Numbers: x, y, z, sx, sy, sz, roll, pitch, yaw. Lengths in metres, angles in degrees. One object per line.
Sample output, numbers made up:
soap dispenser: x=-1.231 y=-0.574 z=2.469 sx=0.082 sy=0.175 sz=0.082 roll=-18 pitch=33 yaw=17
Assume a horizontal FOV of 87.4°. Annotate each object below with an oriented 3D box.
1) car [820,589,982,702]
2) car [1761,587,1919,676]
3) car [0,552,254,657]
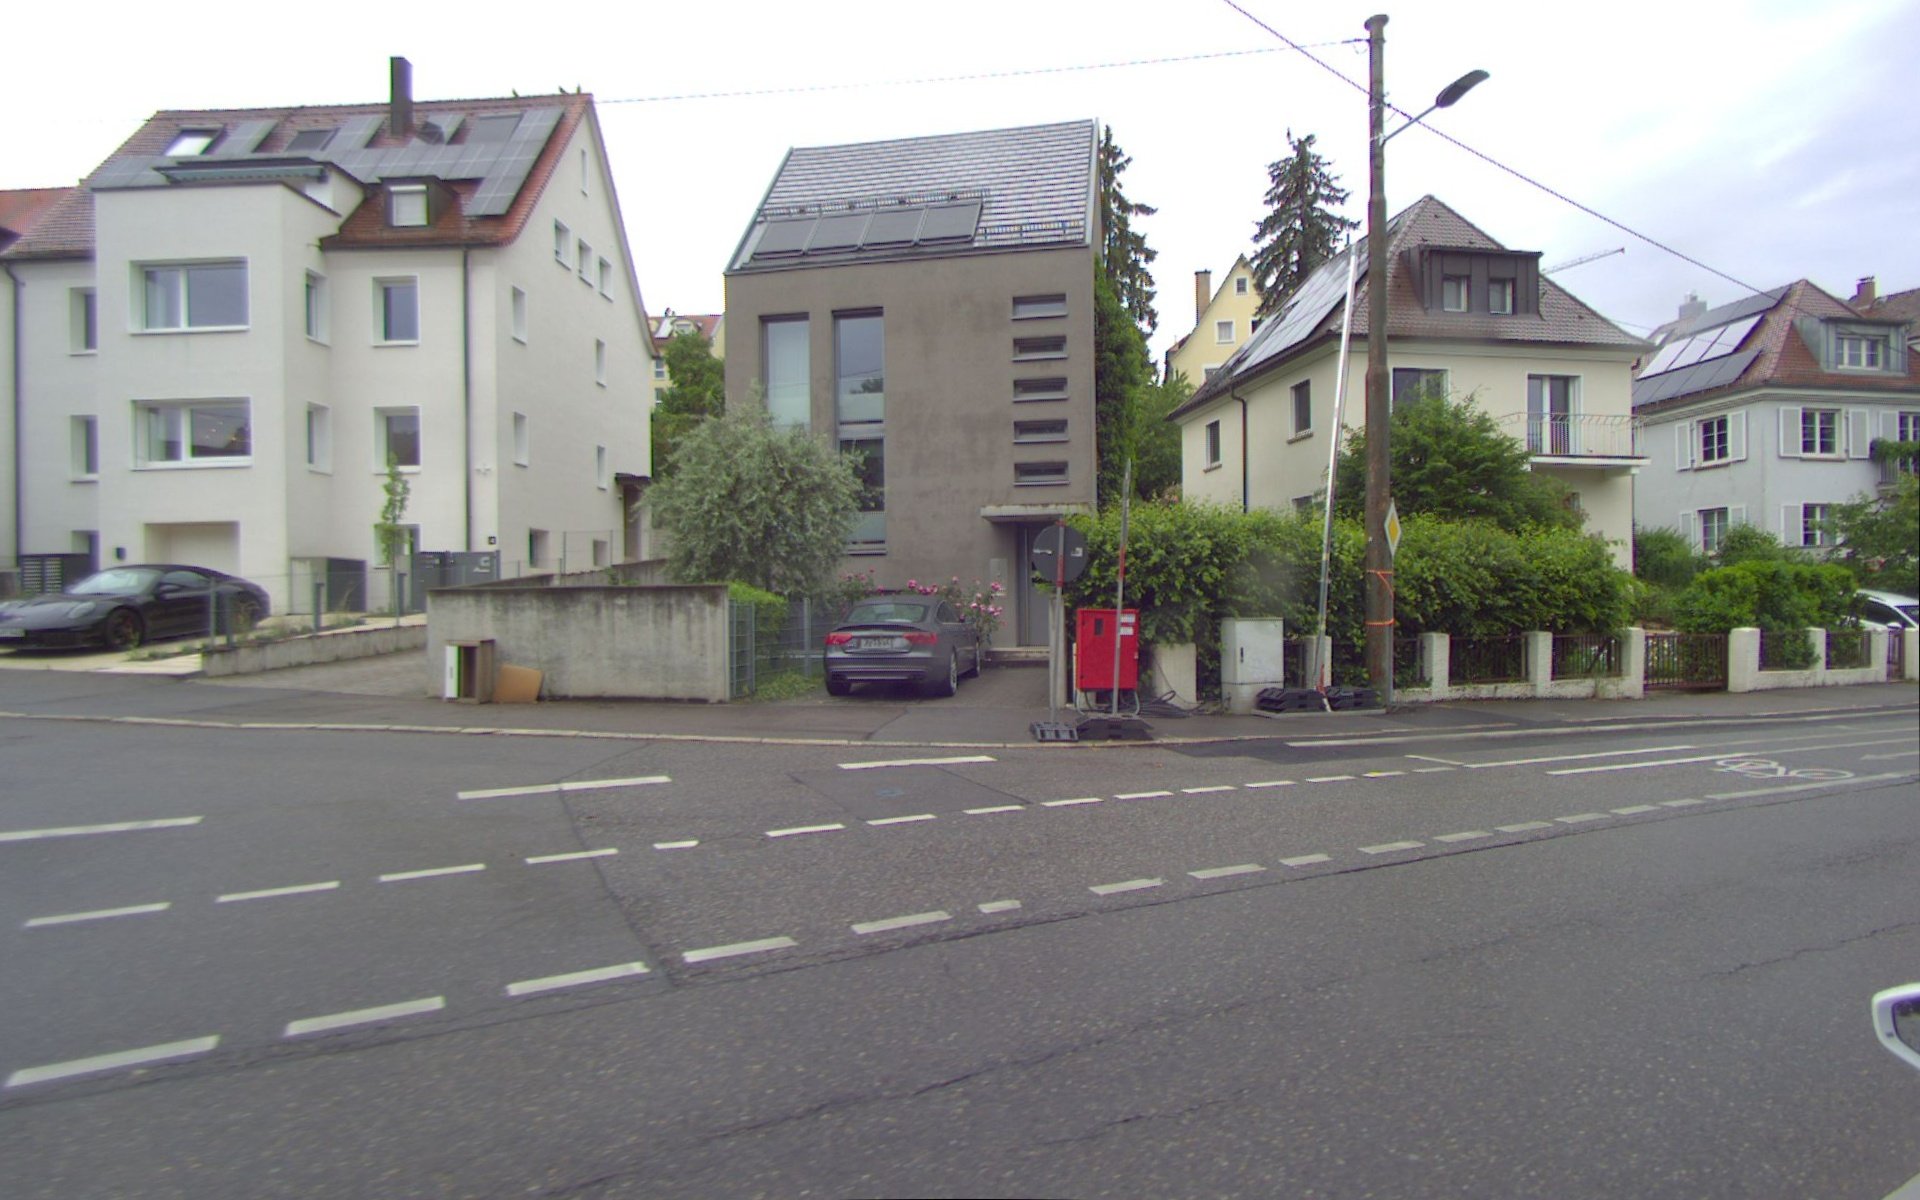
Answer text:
car: x=-0.734 y=0.591 z=15.139 sx=1.802 sy=1.463 sz=4.002 roll=0 pitch=0 yaw=6
car: x=22.532 y=0.744 z=24.795 sx=1.801 sy=2.040 sz=3.985 roll=1 pitch=0 yaw=-17
car: x=-14.097 y=0.056 z=16.799 sx=1.700 sy=1.528 sz=3.820 roll=1 pitch=0 yaw=4
